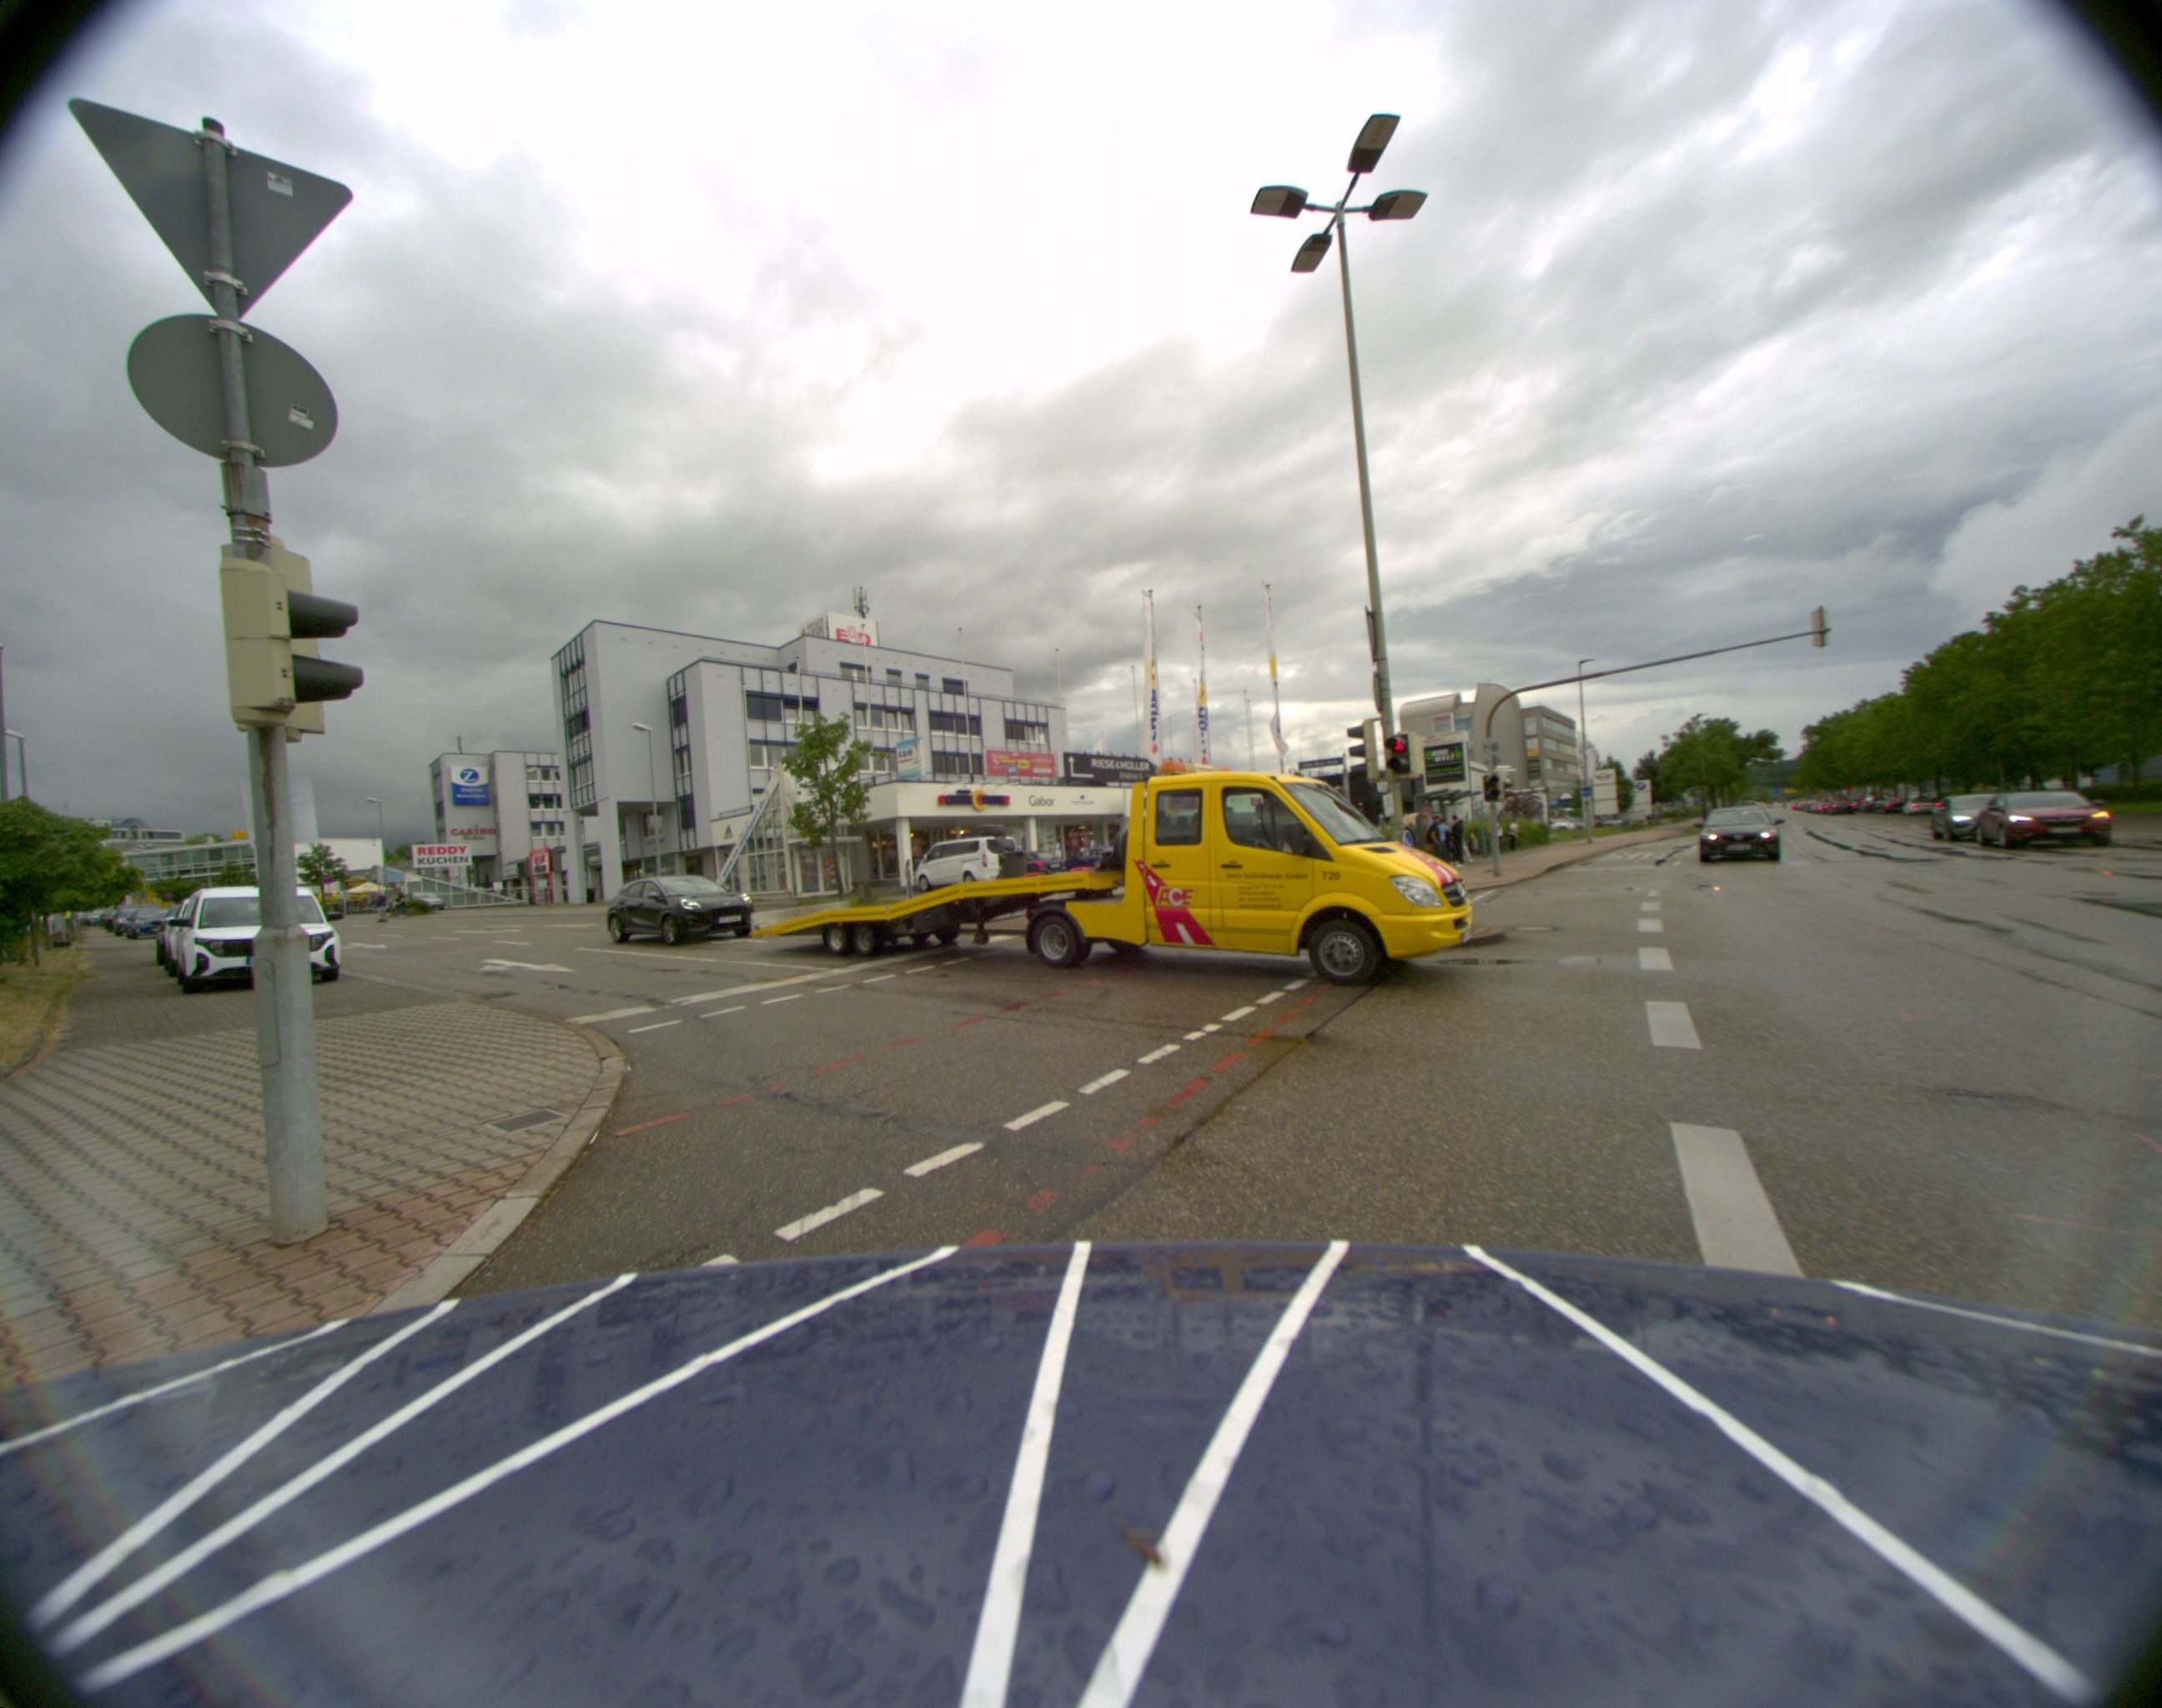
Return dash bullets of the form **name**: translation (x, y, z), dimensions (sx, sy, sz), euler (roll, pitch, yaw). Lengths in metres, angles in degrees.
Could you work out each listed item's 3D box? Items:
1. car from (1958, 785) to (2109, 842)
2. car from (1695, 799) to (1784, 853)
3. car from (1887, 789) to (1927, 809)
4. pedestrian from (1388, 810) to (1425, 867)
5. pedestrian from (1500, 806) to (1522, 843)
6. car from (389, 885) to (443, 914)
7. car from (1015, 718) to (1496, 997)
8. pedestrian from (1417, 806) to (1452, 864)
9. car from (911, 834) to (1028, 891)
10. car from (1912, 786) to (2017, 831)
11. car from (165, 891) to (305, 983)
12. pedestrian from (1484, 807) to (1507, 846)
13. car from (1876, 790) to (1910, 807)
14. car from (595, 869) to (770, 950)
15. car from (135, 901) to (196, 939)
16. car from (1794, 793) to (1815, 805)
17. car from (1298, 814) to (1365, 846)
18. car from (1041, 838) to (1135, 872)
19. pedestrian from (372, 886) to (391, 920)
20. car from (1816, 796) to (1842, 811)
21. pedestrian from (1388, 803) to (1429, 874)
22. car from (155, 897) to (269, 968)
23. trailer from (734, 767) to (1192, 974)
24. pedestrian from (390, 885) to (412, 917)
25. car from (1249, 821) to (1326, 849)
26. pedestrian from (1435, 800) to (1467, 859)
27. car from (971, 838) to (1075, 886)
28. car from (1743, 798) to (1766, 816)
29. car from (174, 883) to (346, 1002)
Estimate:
- **car**: translation (27.245, -1.153, 21.906), dimensions (1.714, 1.456, 4.007), euler (0, 3, 36)
- **car**: translation (20.737, -0.911, 24.071), dimensions (1.751, 1.455, 4.007), euler (-4, 0, 36)
- **car**: translation (73.026, -4.842, 67.222), dimensions (1.839, 1.579, 4.007), euler (-3, 1, 40)
- **pedestrian**: translation (10.336, -0.502, 24.172), dimensions (0.815, 1.765, 0.697), euler (-3, 3, -1)
- **pedestrian**: translation (20.513, -1.407, 36.216), dimensions (0.712, 1.701, 0.698), euler (-2, 1, 43)
- **car**: translation (-41.628, 2.849, 47.531), dimensions (3.989, 1.601, 1.827), euler (-3, 1, 39)
- **car**: translation (1.901, 0.092, 9.096), dimensions (5.002, 2.460, 2.251), euler (-3, 1, 37)
- **pedestrian**: translation (11.552, -0.621, 24.833), dimensions (0.813, 1.847, 0.698), euler (-1, 5, 43)
- **car**: translation (-4.508, 0.369, 30.355), dimensions (4.774, 2.002, 2.004), euler (-3, 1, 44)
- **car**: translation (31.016, -1.616, 26.781), dimensions (1.693, 1.389, 3.709), euler (-3, 2, 38)
- **car**: translation (-19.132, 1.777, 17.147), dimensions (3.989, 1.698, 1.827), euler (-3, 1, 39)
- **pedestrian**: translation (18.722, -1.256, 34.324), dimensions (0.699, 1.701, 0.698), euler (-2, 1, 43)
- **car**: translation (81.640, -5.562, 76.437), dimensions (1.839, 1.579, 4.007), euler (-3, 1, 40)
- **car**: translation (-9.256, 1.261, 17.555), dimensions (3.990, 1.532, 1.817), euler (-3, 2, 35)
- **car**: translation (-46.664, 3.317, 38.750), dimensions (3.989, 1.698, 1.827), euler (-3, 1, 39)
- **car**: translation (105.345, -8.024, 110.659), dimensions (1.839, 1.579, 4.007), euler (-3, 1, 40)
- **car**: translation (17.932, -1.728, 54.480), dimensions (1.914, 2.002, 3.989), euler (-5, 1, -44)
- **car**: translation (0.310, 0.077, 36.753), dimensions (4.363, 1.386, 1.827), euler (-3, 1, 43)
- **pedestrian**: translation (-36.459, 2.546, 39.598), dimensions (0.518, 1.698, 0.552), euler (-2, 2, 40)
- **car**: translation (89.365, -6.013, 90.783), dimensions (1.839, 1.579, 4.007), euler (-3, 1, 40)
- **pedestrian**: translation (9.624, -0.465, 22.340), dimensions (0.815, 2.002, 0.697), euler (-3, 2, -1)
- **car**: translation (-23.870, 2.078, 20.839), dimensions (3.989, 1.589, 1.827), euler (-3, 1, 39)
- **trailer**: translation (-2.348, 0.314, 12.307), dimensions (7.950, 2.460, 2.315), euler (-3, 1, 37)
- **pedestrian**: translation (-39.364, 2.717, 44.009), dimensions (0.646, 1.733, 0.587), euler (-5, 2, -18)
- **car**: translation (13.330, -1.204, 49.118), dimensions (4.363, 1.489, 1.900), euler (-3, 1, 43)
- **pedestrian**: translation (12.975, -0.851, 26.619), dimensions (0.739, 2.002, 0.698), euler (-2, 2, 43)
- **car**: translation (-2.578, 0.380, 32.911), dimensions (4.363, 1.809, 1.900), euler (-3, 1, 43)
- **car**: translation (71.346, -4.958, 80.474), dimensions (1.617, 1.718, 3.685), euler (-3, 1, 39)
- **car**: translation (-15.025, 1.496, 13.833), dimensions (4.238, 1.772, 1.802), euler (-3, -1, 39)
